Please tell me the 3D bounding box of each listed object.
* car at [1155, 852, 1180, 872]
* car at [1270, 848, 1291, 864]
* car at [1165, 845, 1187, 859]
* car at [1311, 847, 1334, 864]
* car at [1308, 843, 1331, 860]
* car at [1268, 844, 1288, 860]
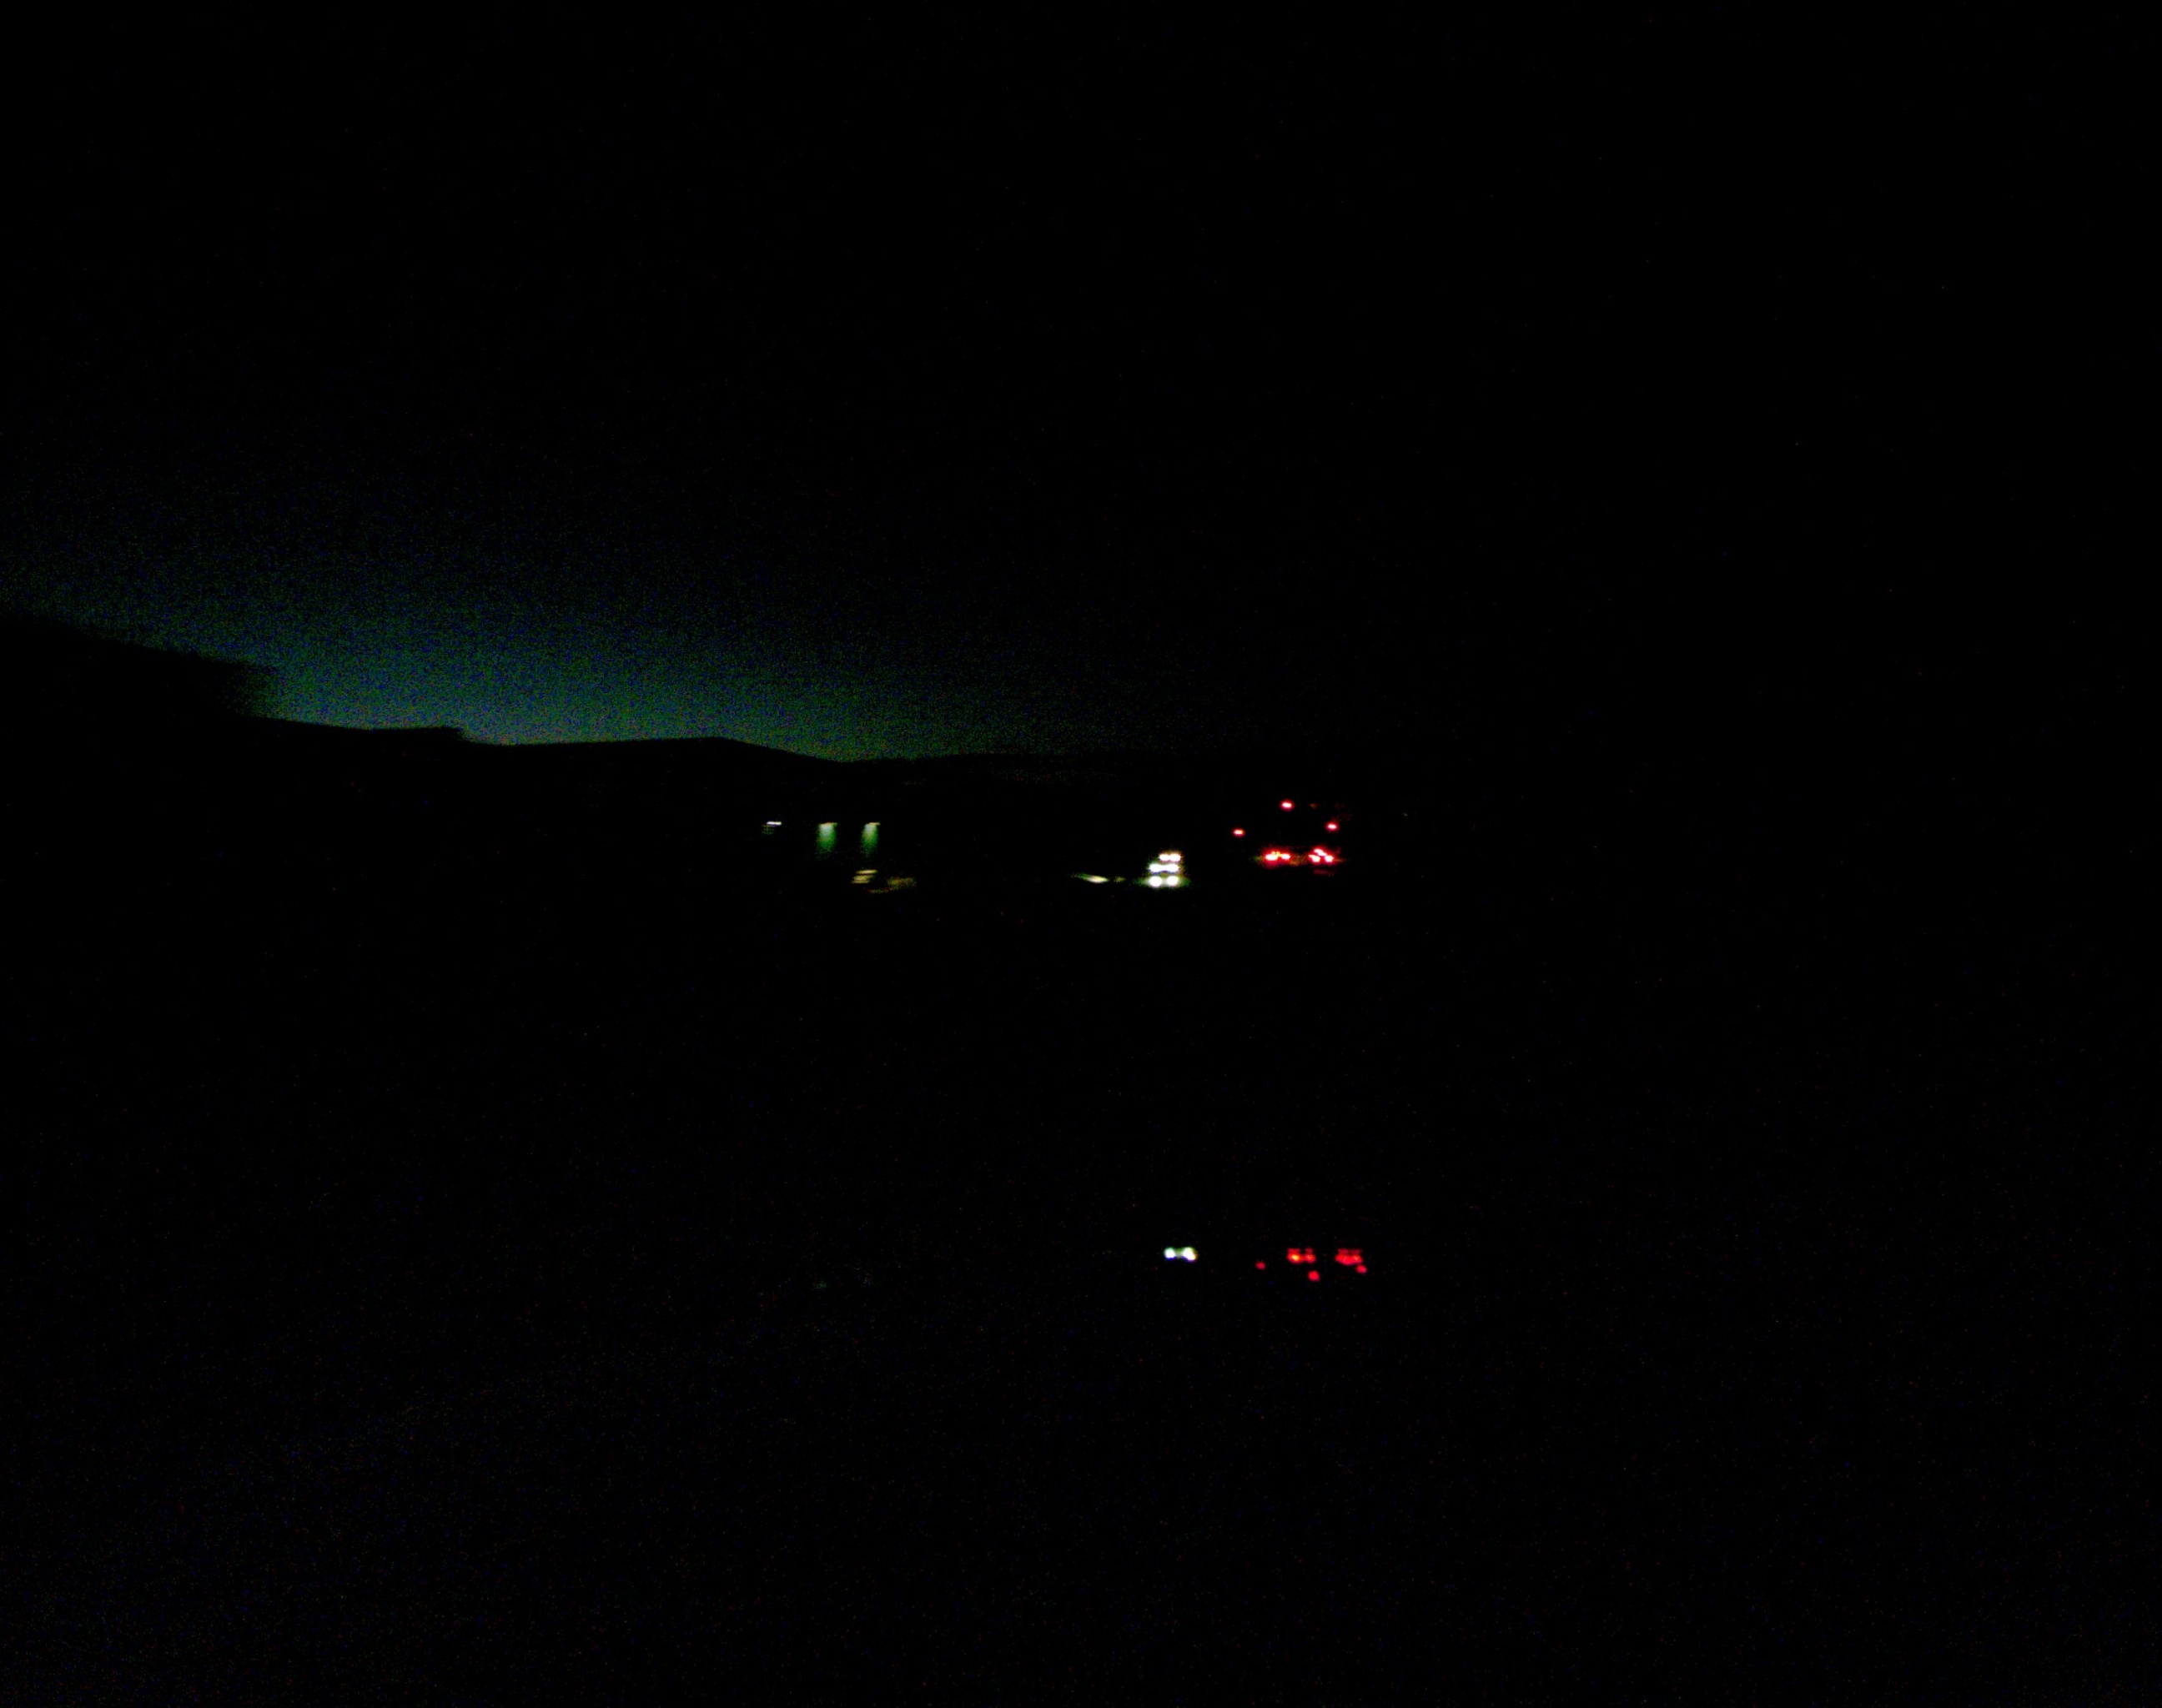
[{"bbox_3d":[7.388,0.668,64.611,1.761,1.451,4.194,-2,1,10],"label":"car"},{"bbox_3d":[19.338,0.166,73.693,1.713,1.436,3.987,-2,1,12],"label":"car"},{"bbox_3d":[10.820,-0.202,86.275,1.654,1.442,3.494,-1,1,20],"label":"car"},{"bbox_3d":[22.782,0.088,71.823,1.686,1.451,3.814,-1,2,12],"label":"car"},{"bbox_3d":[24.591,-0.287,78.397,1.757,1.452,4.001,-3,2,11],"label":"car"},{"bbox_3d":[21.044,-0.222,81.281,1.702,1.467,3.871,-3,3,10],"label":"car"}]
